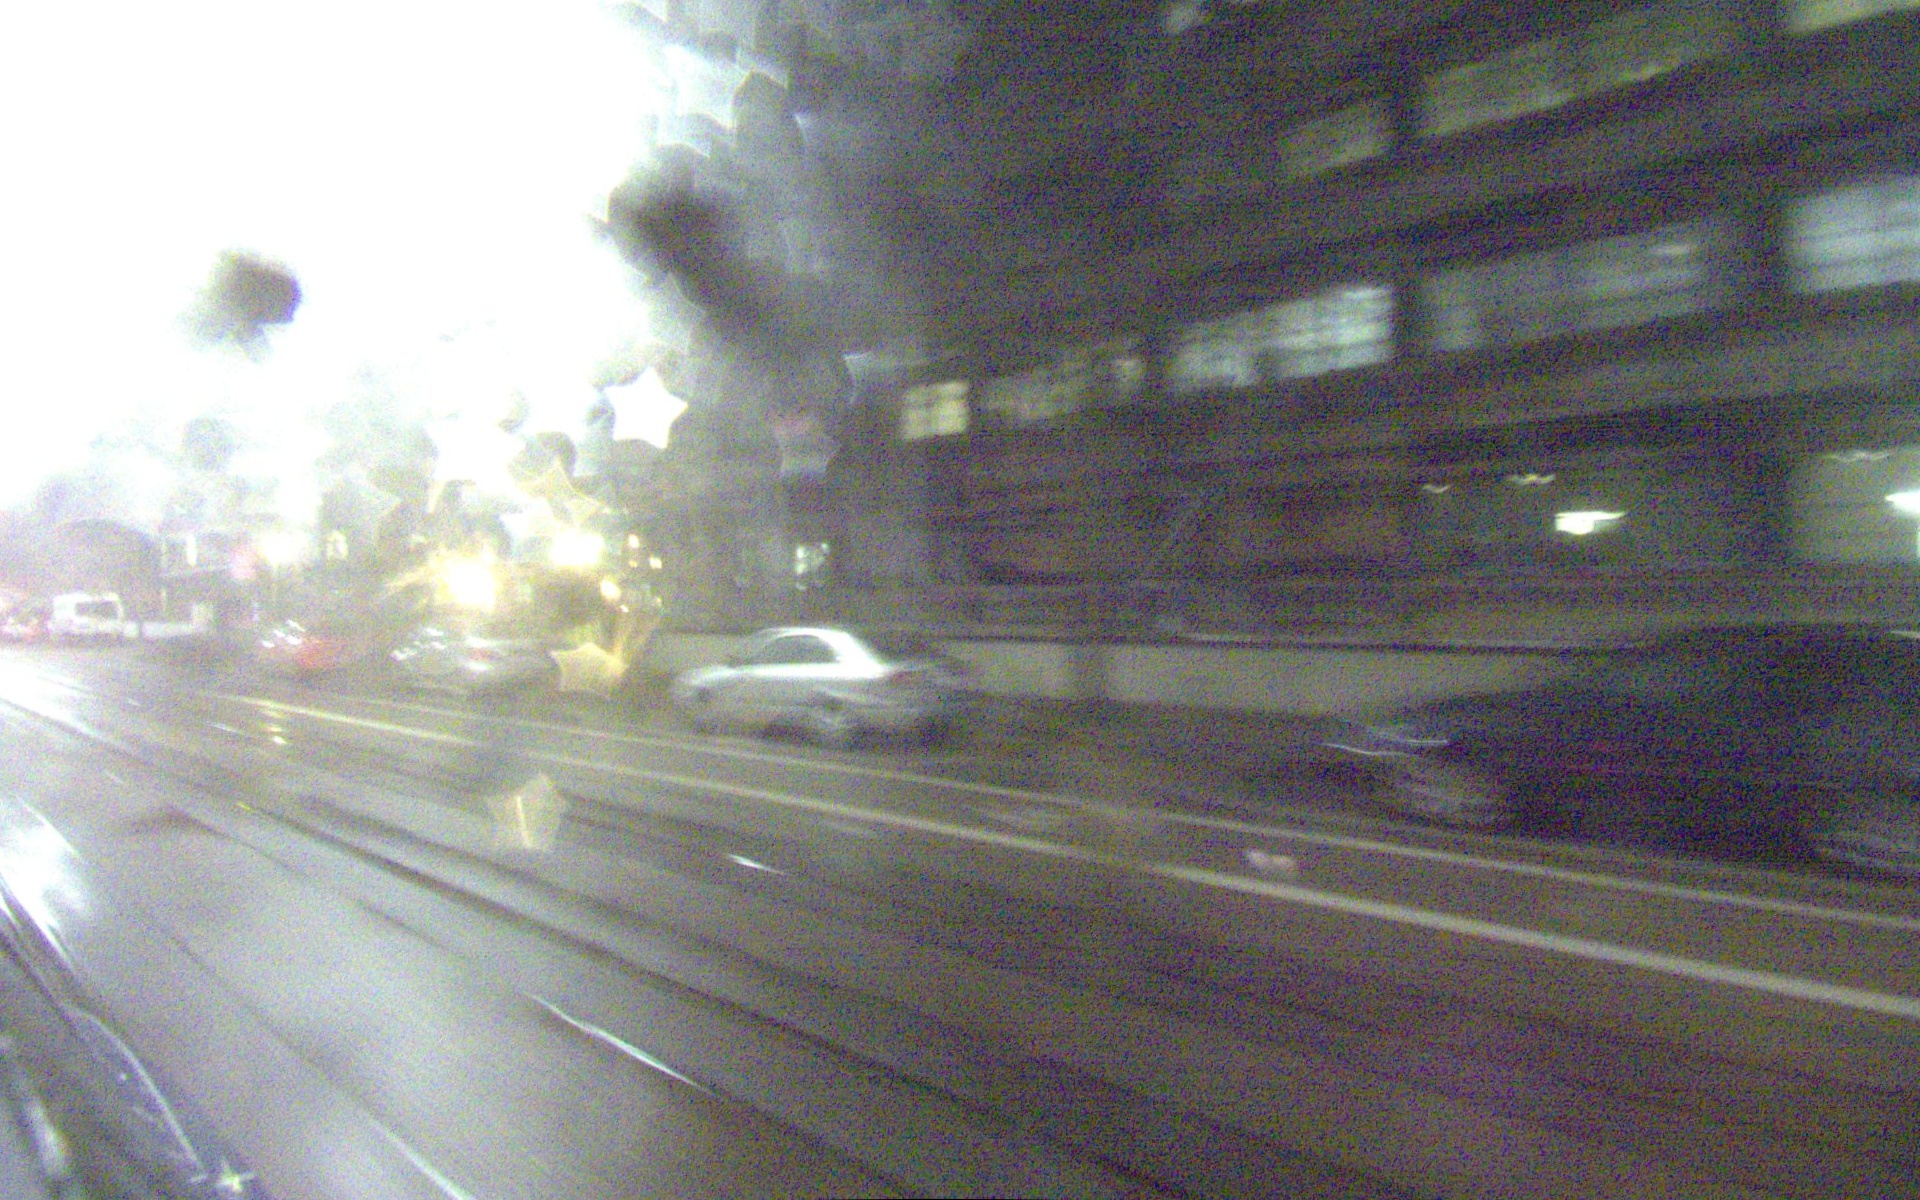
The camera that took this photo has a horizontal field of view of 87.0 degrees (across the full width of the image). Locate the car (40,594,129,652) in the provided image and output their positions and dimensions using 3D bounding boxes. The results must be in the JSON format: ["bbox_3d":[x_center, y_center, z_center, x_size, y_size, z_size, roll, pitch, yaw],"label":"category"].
[{"bbox_3d":[-41.573,1.050,48.036,5.254,2.527,2.220,-1,1,39],"label":"car"}]

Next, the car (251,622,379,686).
[{"bbox_3d":[-16.507,1.321,25.827,3.948,1.467,1.701,-1,-1,41],"label":"car"}]

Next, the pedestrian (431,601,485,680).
[{"bbox_3d":[-12.521,0.998,25.252,1.290,1.916,0.784,-1,-1,41],"label":"pedestrian"}]

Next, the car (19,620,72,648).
[{"bbox_3d":[-50.715,1.862,56.093,3.387,1.418,1.698,-1,1,40],"label":"car"}]

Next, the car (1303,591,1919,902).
[{"bbox_3d":[5.057,0.800,7.052,4.586,1.631,2.122,-1,2,41],"label":"car"}]

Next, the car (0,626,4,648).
[{"bbox_3d":[-73.101,2.758,75.894,3.916,1.586,1.671,-1,-1,41],"label":"car"}]

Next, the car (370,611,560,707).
[{"bbox_3d":[-9.827,1.090,19.951,4.351,1.590,1.791,-1,1,41],"label":"car"}]

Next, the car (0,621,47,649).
[{"bbox_3d":[-57.280,2.101,61.730,3.661,1.593,1.823,-1,1,40],"label":"car"}]

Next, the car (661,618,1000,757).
[{"bbox_3d":[-1.810,0.974,13.001,4.624,1.449,1.713,-1,-1,41],"label":"car"}]
